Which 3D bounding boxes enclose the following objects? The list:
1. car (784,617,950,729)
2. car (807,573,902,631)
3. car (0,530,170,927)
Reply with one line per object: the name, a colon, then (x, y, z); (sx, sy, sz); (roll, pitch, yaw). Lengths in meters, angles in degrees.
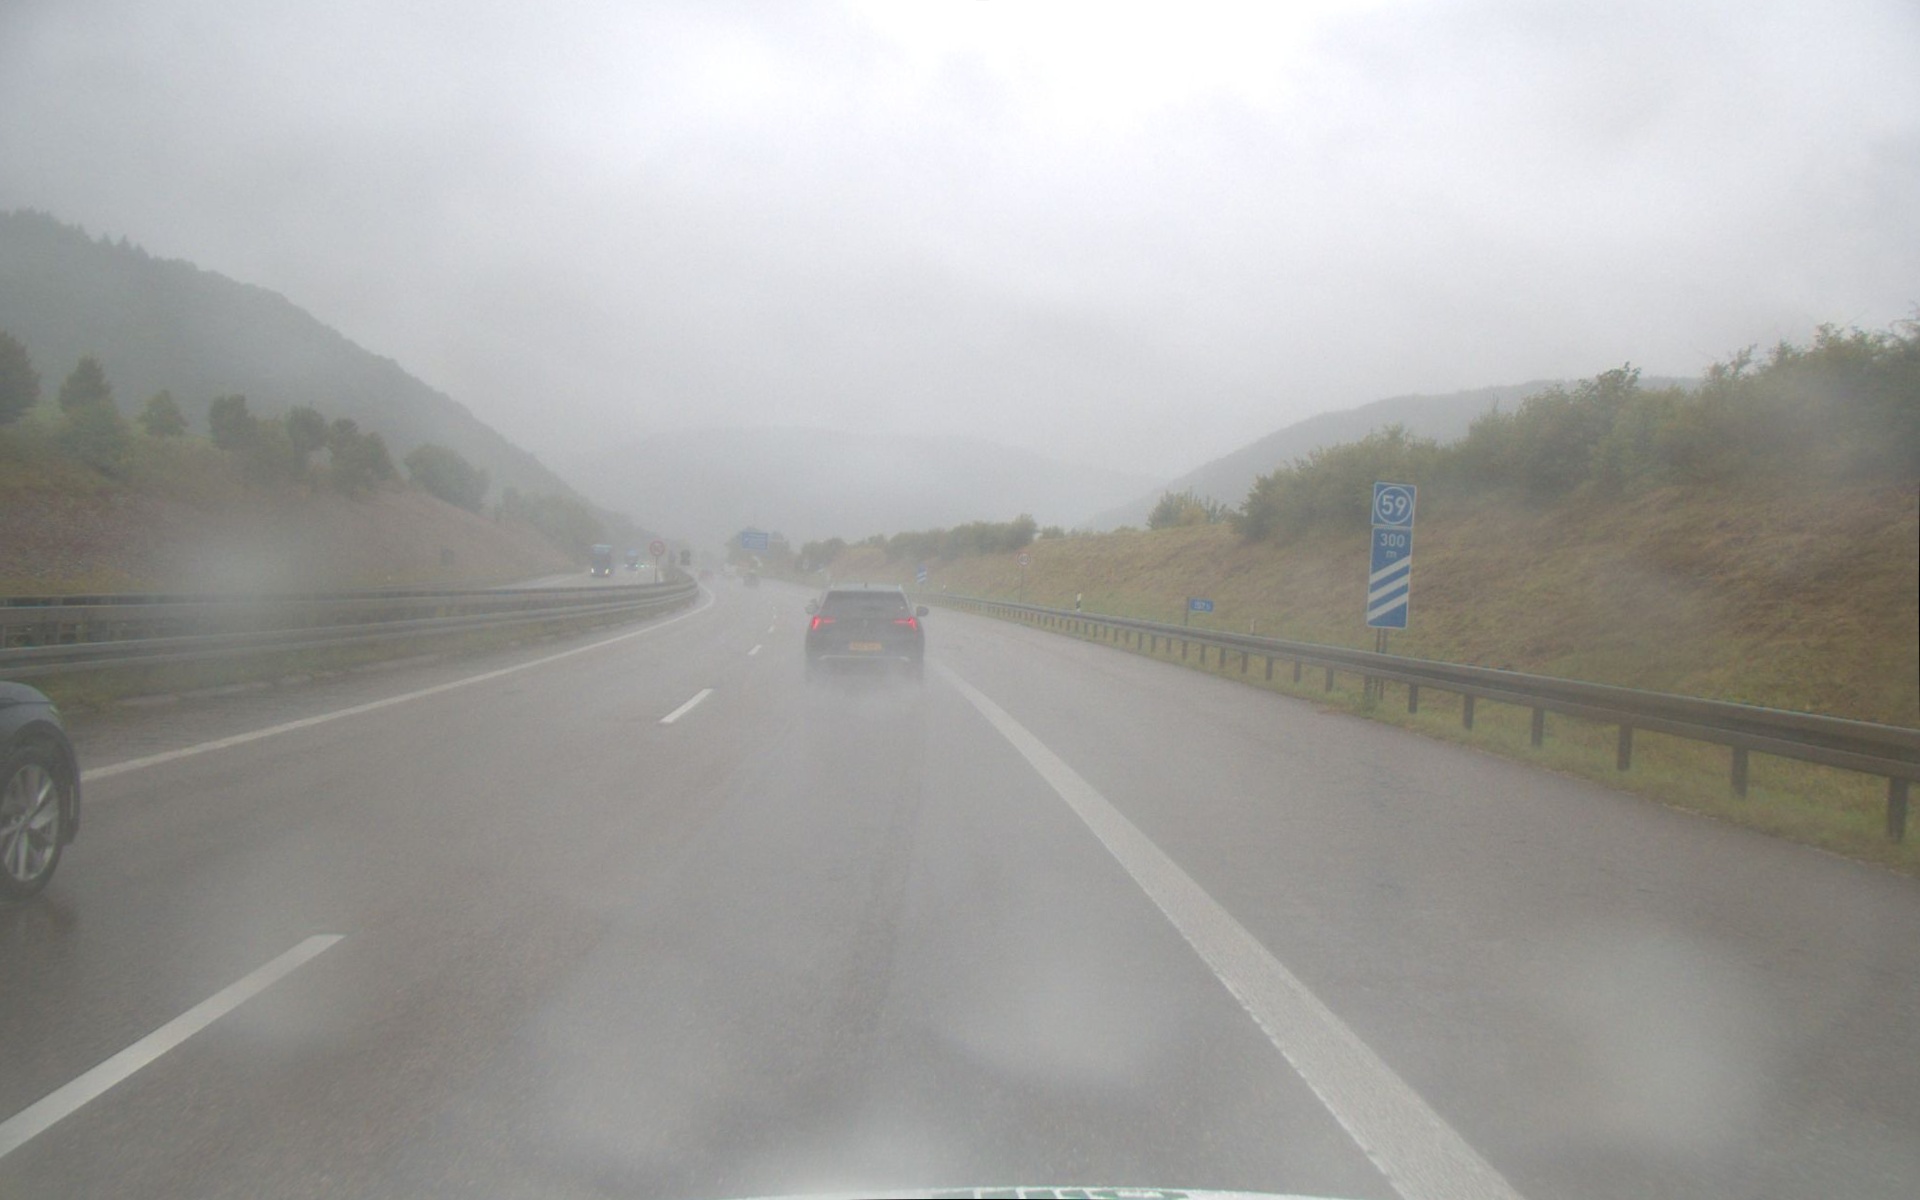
car: (-1.459, 1.088, 26.453); (2.358, 1.542, 4.781); (2, -1, -3)
car: (-3.294, 0.075, 50.344); (2.615, 1.542, 5.710); (2, -1, -6)
car: (-5.097, 0.565, 6.271); (1.953, 1.712, 4.907); (0, 0, -2)
